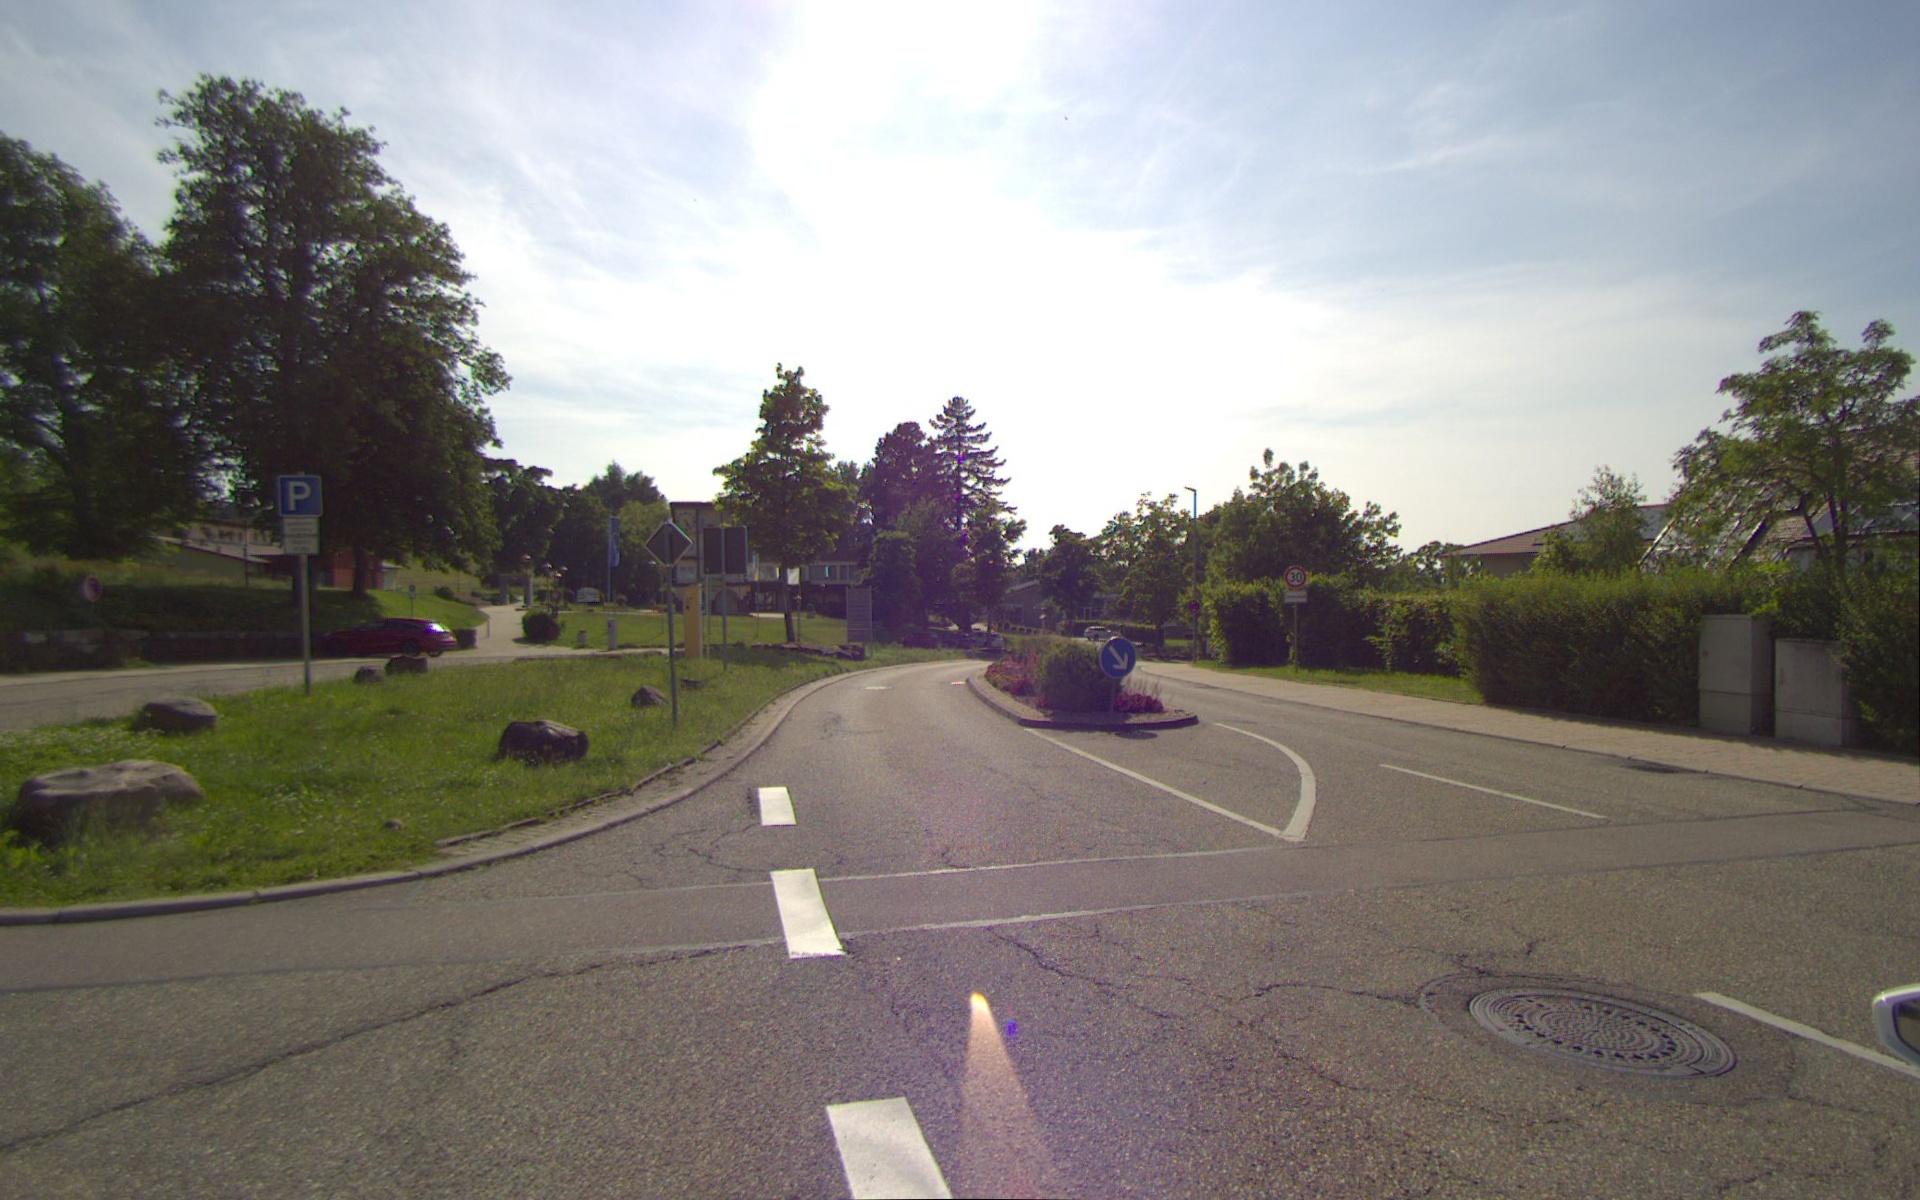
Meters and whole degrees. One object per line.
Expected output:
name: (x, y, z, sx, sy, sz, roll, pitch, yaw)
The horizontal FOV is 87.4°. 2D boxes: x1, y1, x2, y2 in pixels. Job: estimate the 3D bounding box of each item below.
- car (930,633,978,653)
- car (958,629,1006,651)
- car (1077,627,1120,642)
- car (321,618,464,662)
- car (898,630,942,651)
car: (-0.513, 3.632, 84.532, 3.657, 1.452, 1.769, 2, -2, 40)
car: (1.886, 3.484, 87.818, 3.880, 1.630, 1.769, 2, -2, 39)
car: (16.135, 4.034, 117.028, 4.656, 1.555, 1.991, 0, 3, -18)
car: (-20.663, 1.451, 36.677, 4.154, 1.417, 1.824, 2, -1, 1)
car: (-3.241, 3.296, 82.214, 3.157, 1.489, 1.770, 2, -2, 38)
